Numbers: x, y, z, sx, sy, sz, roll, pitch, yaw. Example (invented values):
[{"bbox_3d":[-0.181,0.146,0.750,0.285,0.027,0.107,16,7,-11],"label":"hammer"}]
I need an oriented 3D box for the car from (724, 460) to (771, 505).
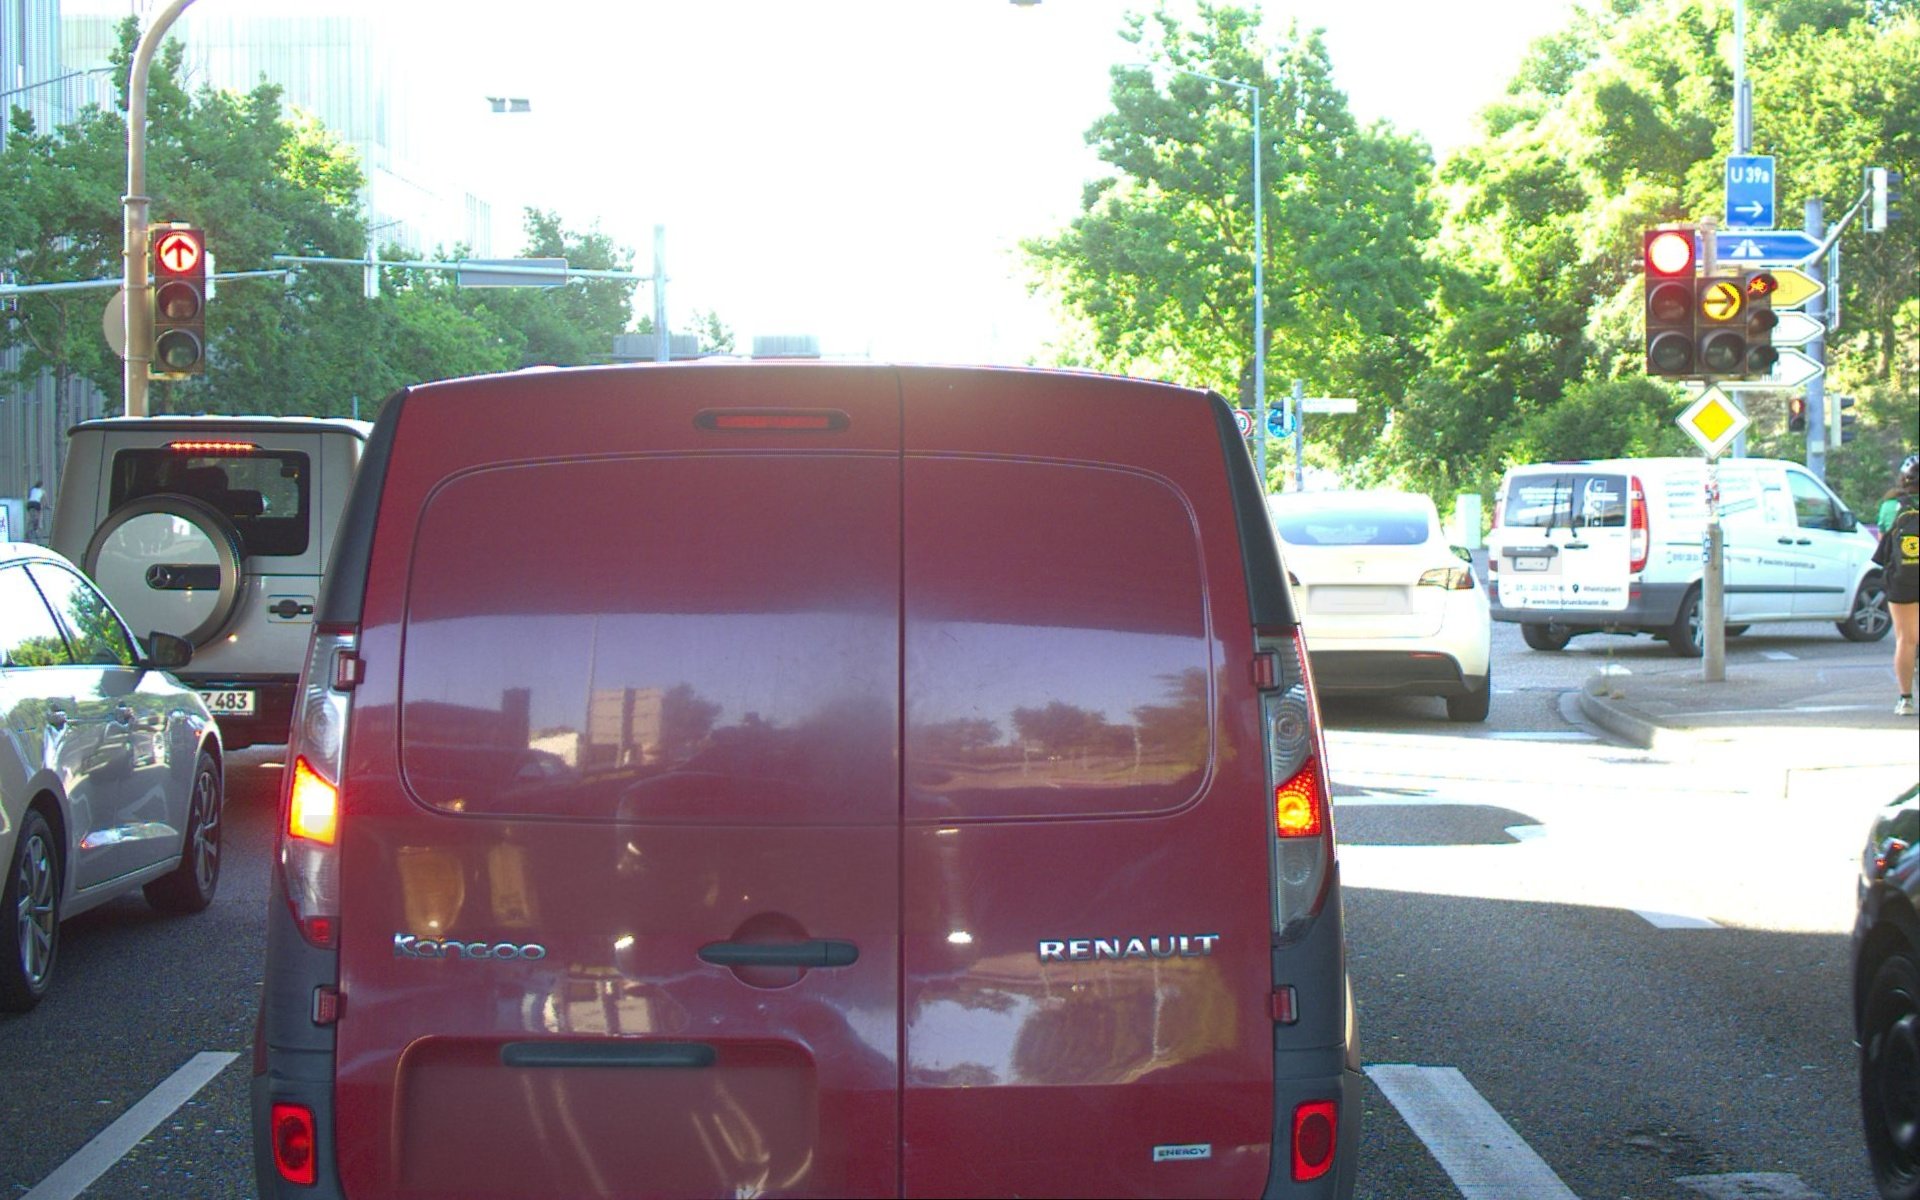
[{"bbox_3d":[-9.942,-5.487,161.018,1.993,2.007,4.000,1,1,-1],"label":"car"}]

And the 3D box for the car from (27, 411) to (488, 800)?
[{"bbox_3d":[-3.722,-0.010,18.846,1.813,1.897,3.814,1,1,-1],"label":"car"}]

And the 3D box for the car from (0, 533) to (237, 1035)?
[{"bbox_3d":[-3.612,0.480,11.496,1.692,1.405,3.814,1,1,-2],"label":"car"}]

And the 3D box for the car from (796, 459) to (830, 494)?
[{"bbox_3d":[-8.952,-7.548,209.939,1.929,2.007,3.914,1,1,-1],"label":"car"}]

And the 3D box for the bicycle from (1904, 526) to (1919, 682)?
[{"bbox_3d":[7.775,0.021,26.261,0.652,1.163,1.775,1,1,30],"label":"bicycle"}]

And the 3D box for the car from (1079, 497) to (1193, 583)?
[{"bbox_3d":[3.061,-1.058,60.363,1.745,1.451,3.717,1,1,-1],"label":"car"}]

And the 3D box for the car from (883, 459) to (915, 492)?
[{"bbox_3d":[-3.909,-7.969,220.620,1.993,2.007,4.000,1,1,-1],"label":"car"}]

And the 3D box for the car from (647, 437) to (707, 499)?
[{"bbox_3d":[-9.770,-4.531,118.786,1.748,2.007,3.845,1,1,-1],"label":"car"}]

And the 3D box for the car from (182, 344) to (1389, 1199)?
[{"bbox_3d":[-0.277,0.483,6.941,1.719,1.758,4.000,1,1,-1],"label":"car"}]

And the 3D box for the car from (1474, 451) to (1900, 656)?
[{"bbox_3d":[7.267,-0.524,34.028,1.902,1.829,4.823,2,4,43],"label":"car"}]

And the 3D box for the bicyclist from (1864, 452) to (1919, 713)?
[{"bbox_3d":[6.106,-0.107,21.726,0.677,1.623,0.644,1,0,10],"label":"bicyclist"}]

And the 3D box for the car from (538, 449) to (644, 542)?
[{"bbox_3d":[-8.396,-2.361,78.468,1.993,2.007,4.000,1,1,-1],"label":"car"}]

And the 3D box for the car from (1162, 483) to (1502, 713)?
[{"bbox_3d":[2.652,0.002,25.496,1.993,1.546,4.421,0,0,-1],"label":"car"}]

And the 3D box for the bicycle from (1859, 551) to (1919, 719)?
[{"bbox_3d":[6.102,0.211,21.717,0.677,1.020,1.528,1,1,10],"label":"bicycle"}]

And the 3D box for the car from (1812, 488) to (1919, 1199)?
[{"bbox_3d":[2.906,0.605,5.741,1.774,1.595,4.106,1,1,-2],"label":"car"}]
